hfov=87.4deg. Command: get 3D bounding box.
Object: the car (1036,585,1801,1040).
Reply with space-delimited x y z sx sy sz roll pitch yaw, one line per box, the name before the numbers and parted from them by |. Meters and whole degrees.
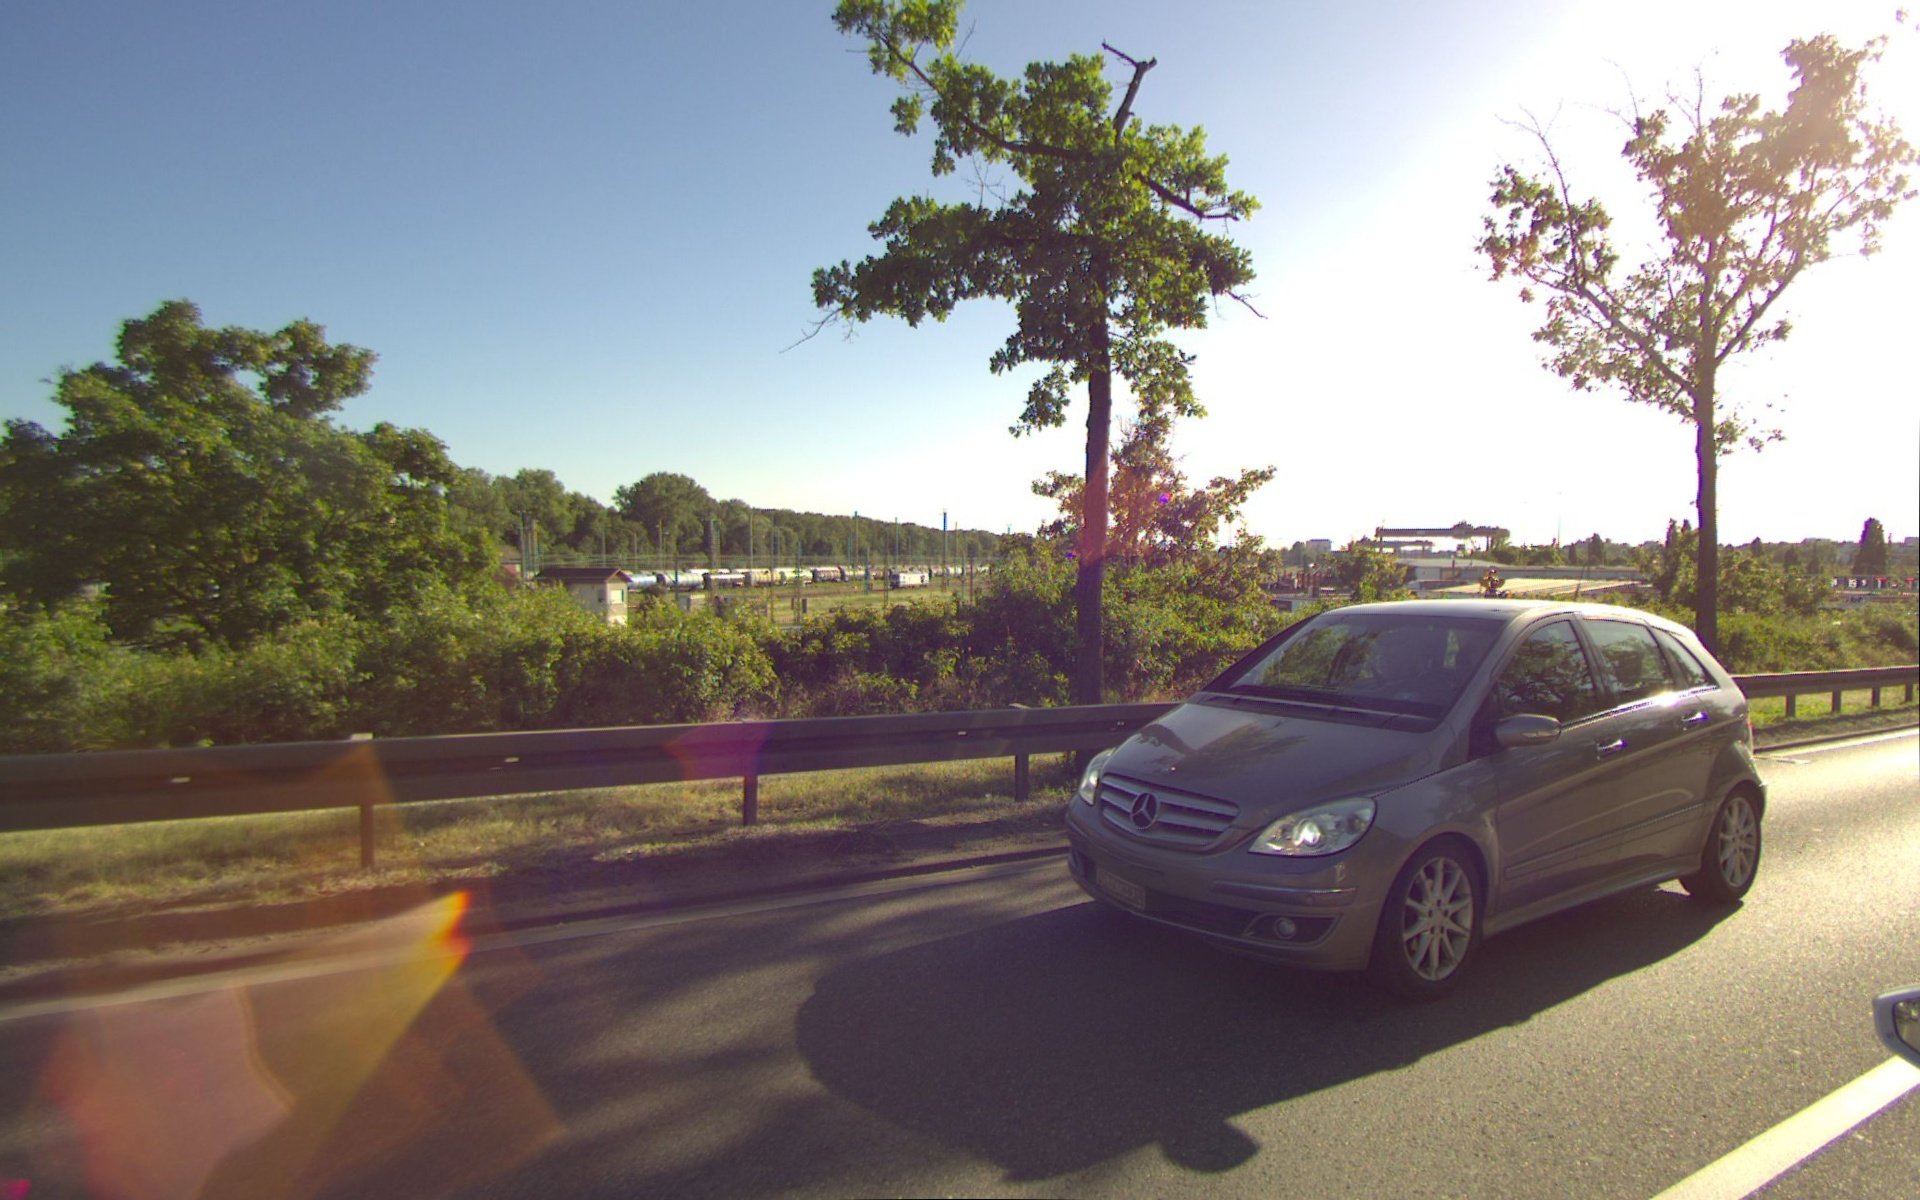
car | 2.588 0.764 5.377 4.096 1.575 1.798 1 1 -33
